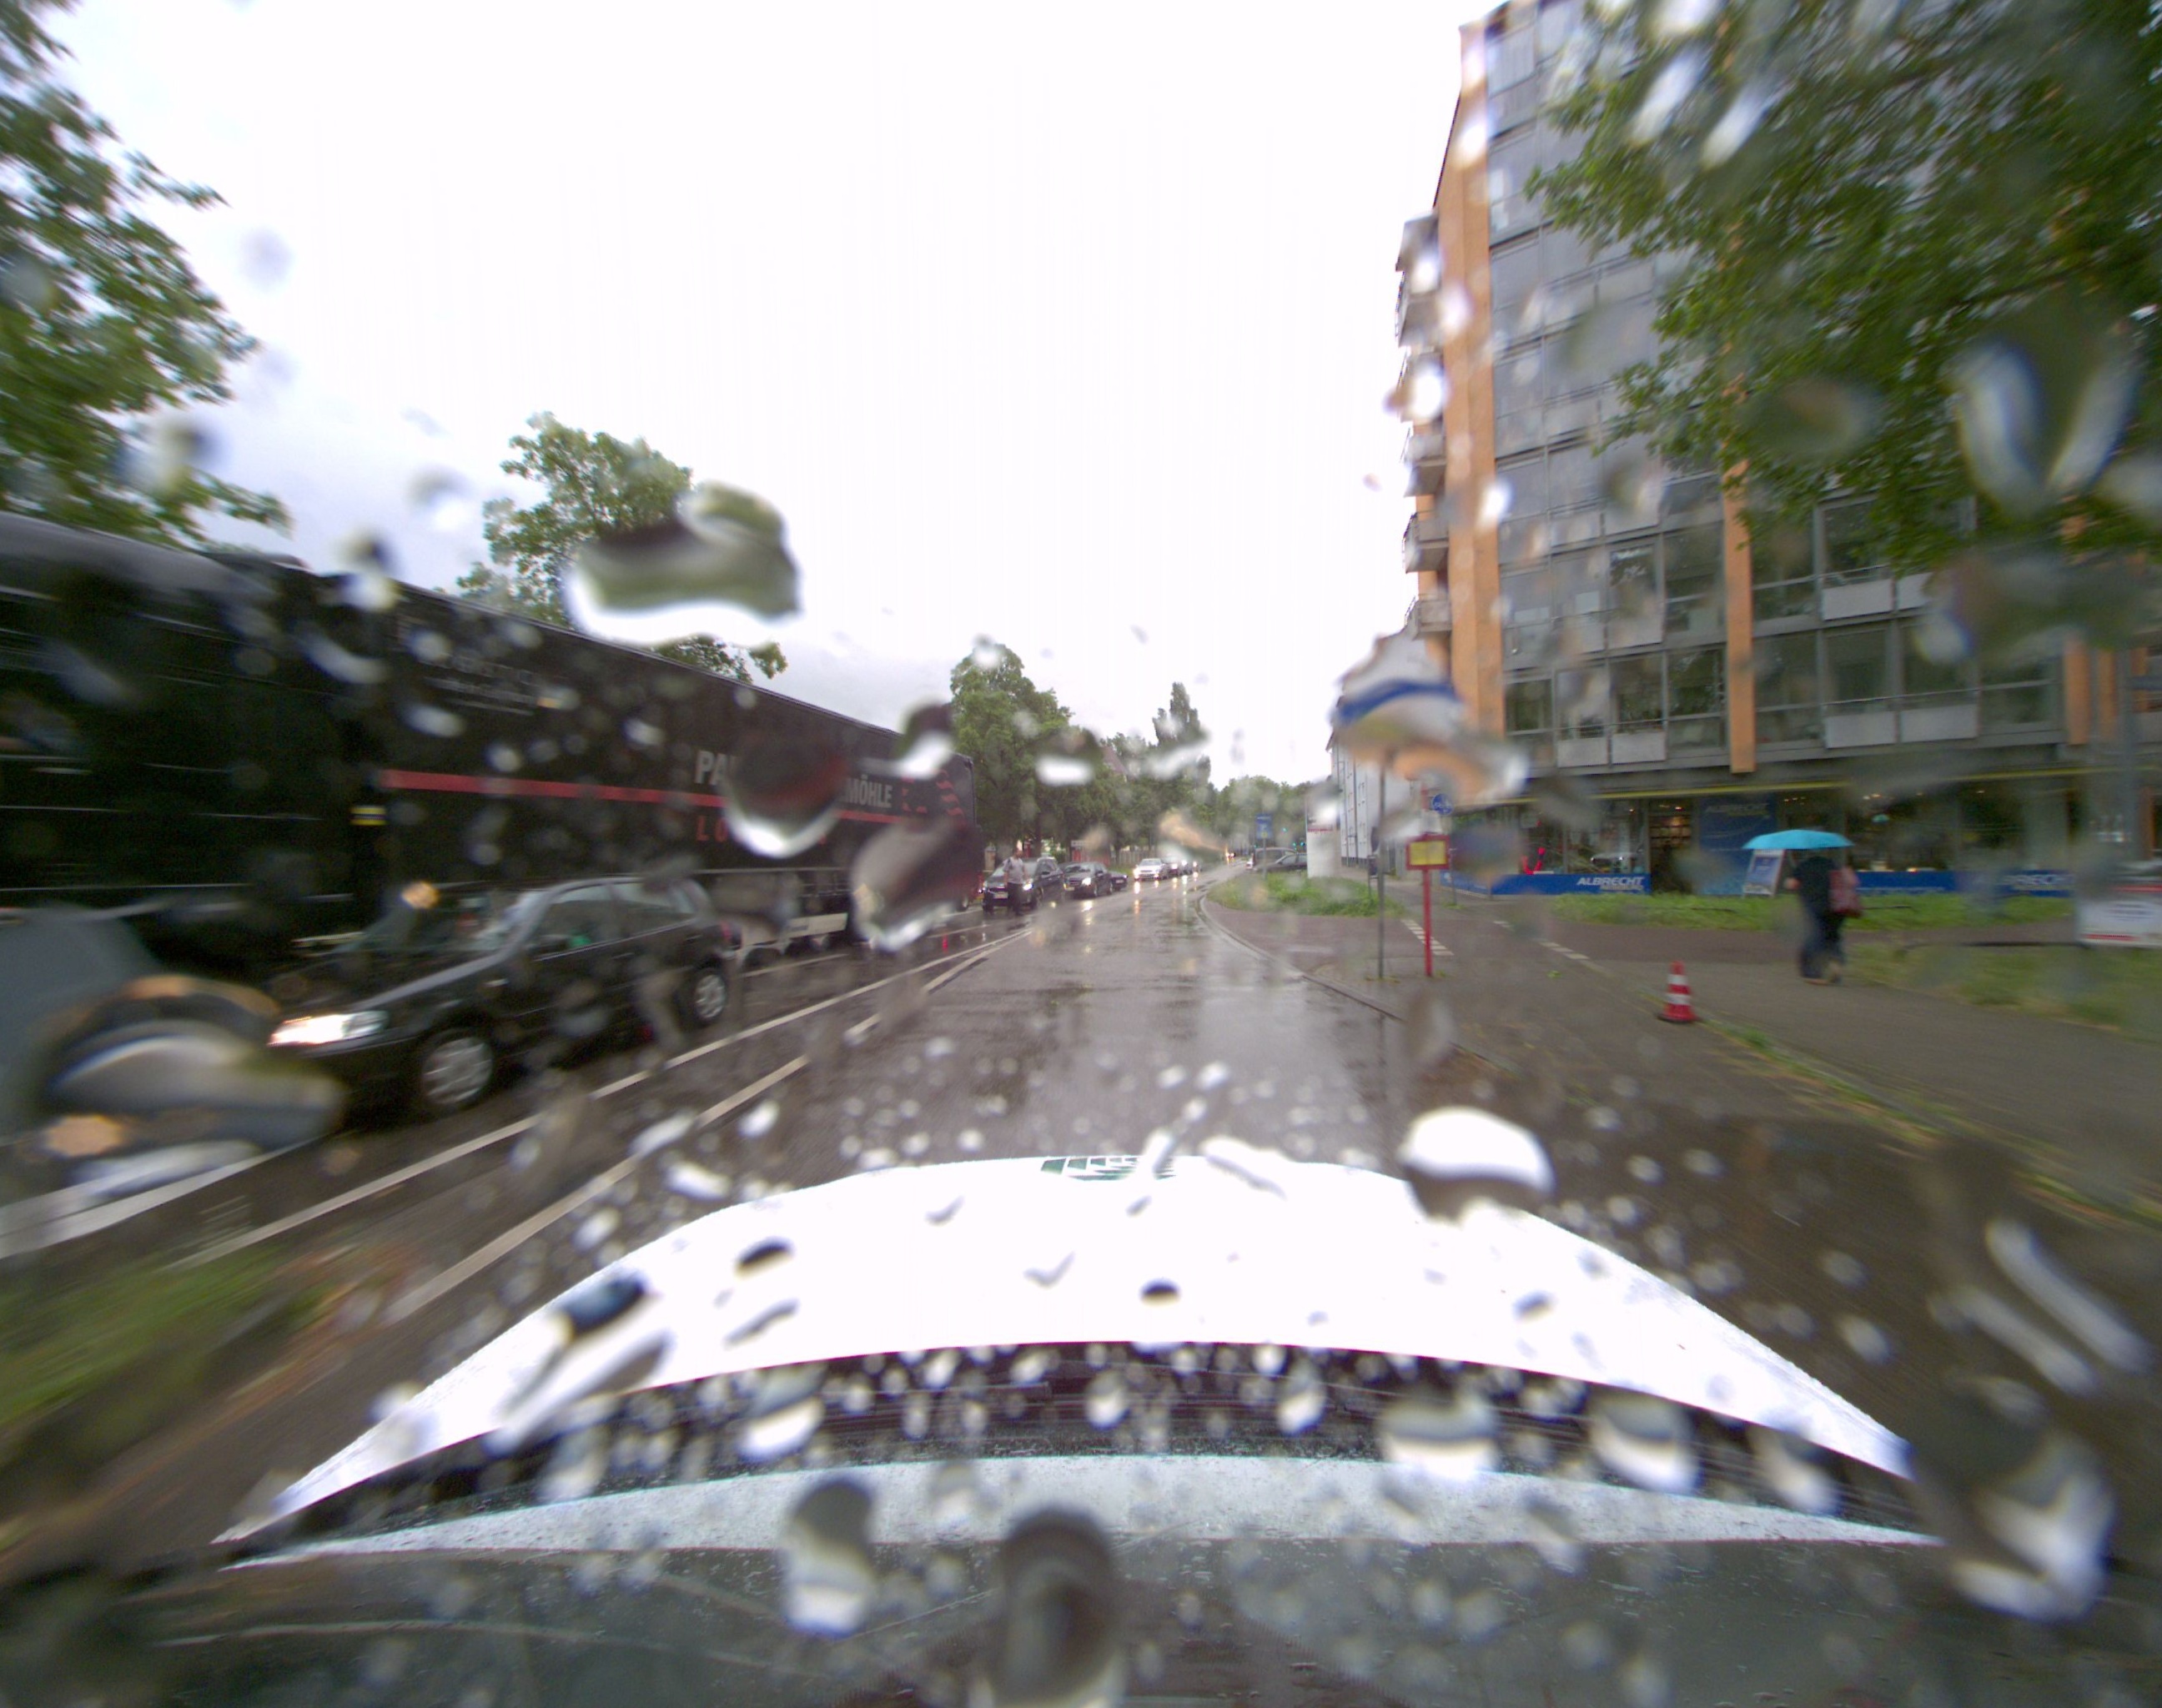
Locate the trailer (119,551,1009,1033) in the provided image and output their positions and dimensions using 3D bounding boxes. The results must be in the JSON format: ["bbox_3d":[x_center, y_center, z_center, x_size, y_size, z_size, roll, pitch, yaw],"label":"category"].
[{"bbox_3d":[-5.449,-0.513,14.541,3.417,4.049,15.108,-2,0,14],"label":"trailer"}]

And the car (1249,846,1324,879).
[{"bbox_3d":[12.436,0.503,49.522,4.205,1.805,1.950,-2,-1,10],"label":"car"}]

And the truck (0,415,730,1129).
[{"bbox_3d":[-7.167,-0.466,7.727,3.426,4.078,7.000,-1,0,14],"label":"truck"}]

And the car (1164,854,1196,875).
[{"bbox_3d":[8.111,0.865,66.328,1.900,1.639,4.841,-1,0,15],"label":"car"}]

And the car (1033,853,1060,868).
[{"bbox_3d":[-3.890,0.719,91.644,1.852,1.573,3.970,0,-1,-22],"label":"car"}]

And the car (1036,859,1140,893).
[{"bbox_3d":[0.253,1.054,38.775,2.098,1.454,4.867,-1,0,-44],"label":"car"}]

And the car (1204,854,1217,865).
[{"bbox_3d":[19.534,0.851,122.898,1.766,1.530,4.008,0,1,7],"label":"car"}]

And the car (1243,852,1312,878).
[{"bbox_3d":[12.537,0.692,52.129,4.162,1.568,1.895,-1,-1,12],"label":"car"}]

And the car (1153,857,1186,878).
[{"bbox_3d":[6.515,0.944,59.646,1.766,1.420,4.281,-2,0,14],"label":"car"}]

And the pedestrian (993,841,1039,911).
[{"bbox_3d":[-1.776,0.583,22.271,0.874,1.843,0.982,-1,0,-31],"label":"pedestrian"}]

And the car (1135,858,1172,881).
[{"bbox_3d":[4.712,0.959,52.597,1.763,1.403,4.846,-1,0,12],"label":"car"}]

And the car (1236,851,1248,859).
[{"bbox_3d":[40.005,0.258,202.685,1.991,2.013,3.992,-1,0,-5],"label":"car"}]

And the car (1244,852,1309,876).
[{"bbox_3d":[13.090,0.689,54.693,4.153,1.572,1.897,-1,-1,12],"label":"car"}]

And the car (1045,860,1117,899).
[{"bbox_3d":[0.086,0.972,32.669,1.713,1.361,4.355,-2,0,15],"label":"car"}]

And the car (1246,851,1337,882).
[{"bbox_3d":[11.129,0.682,43.180,4.501,1.470,1.991,-2,-1,13],"label":"car"}]

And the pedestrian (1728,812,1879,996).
[{"bbox_3d":[8.102,0.507,9.144,1.159,1.865,1.393,-2,-1,43],"label":"pedestrian"}]

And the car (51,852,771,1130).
[{"bbox_3d":[-4.314,0.701,6.254,1.687,1.373,4.112,-1,0,10],"label":"car"}]

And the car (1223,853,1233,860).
[{"bbox_3d":[37.092,0.715,205.309,1.736,1.689,3.997,0,0,-2],"label":"car"}]

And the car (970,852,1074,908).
[{"bbox_3d":[-1.778,0.845,26.453,1.853,1.620,4.821,-2,-2,15],"label":"car"}]
